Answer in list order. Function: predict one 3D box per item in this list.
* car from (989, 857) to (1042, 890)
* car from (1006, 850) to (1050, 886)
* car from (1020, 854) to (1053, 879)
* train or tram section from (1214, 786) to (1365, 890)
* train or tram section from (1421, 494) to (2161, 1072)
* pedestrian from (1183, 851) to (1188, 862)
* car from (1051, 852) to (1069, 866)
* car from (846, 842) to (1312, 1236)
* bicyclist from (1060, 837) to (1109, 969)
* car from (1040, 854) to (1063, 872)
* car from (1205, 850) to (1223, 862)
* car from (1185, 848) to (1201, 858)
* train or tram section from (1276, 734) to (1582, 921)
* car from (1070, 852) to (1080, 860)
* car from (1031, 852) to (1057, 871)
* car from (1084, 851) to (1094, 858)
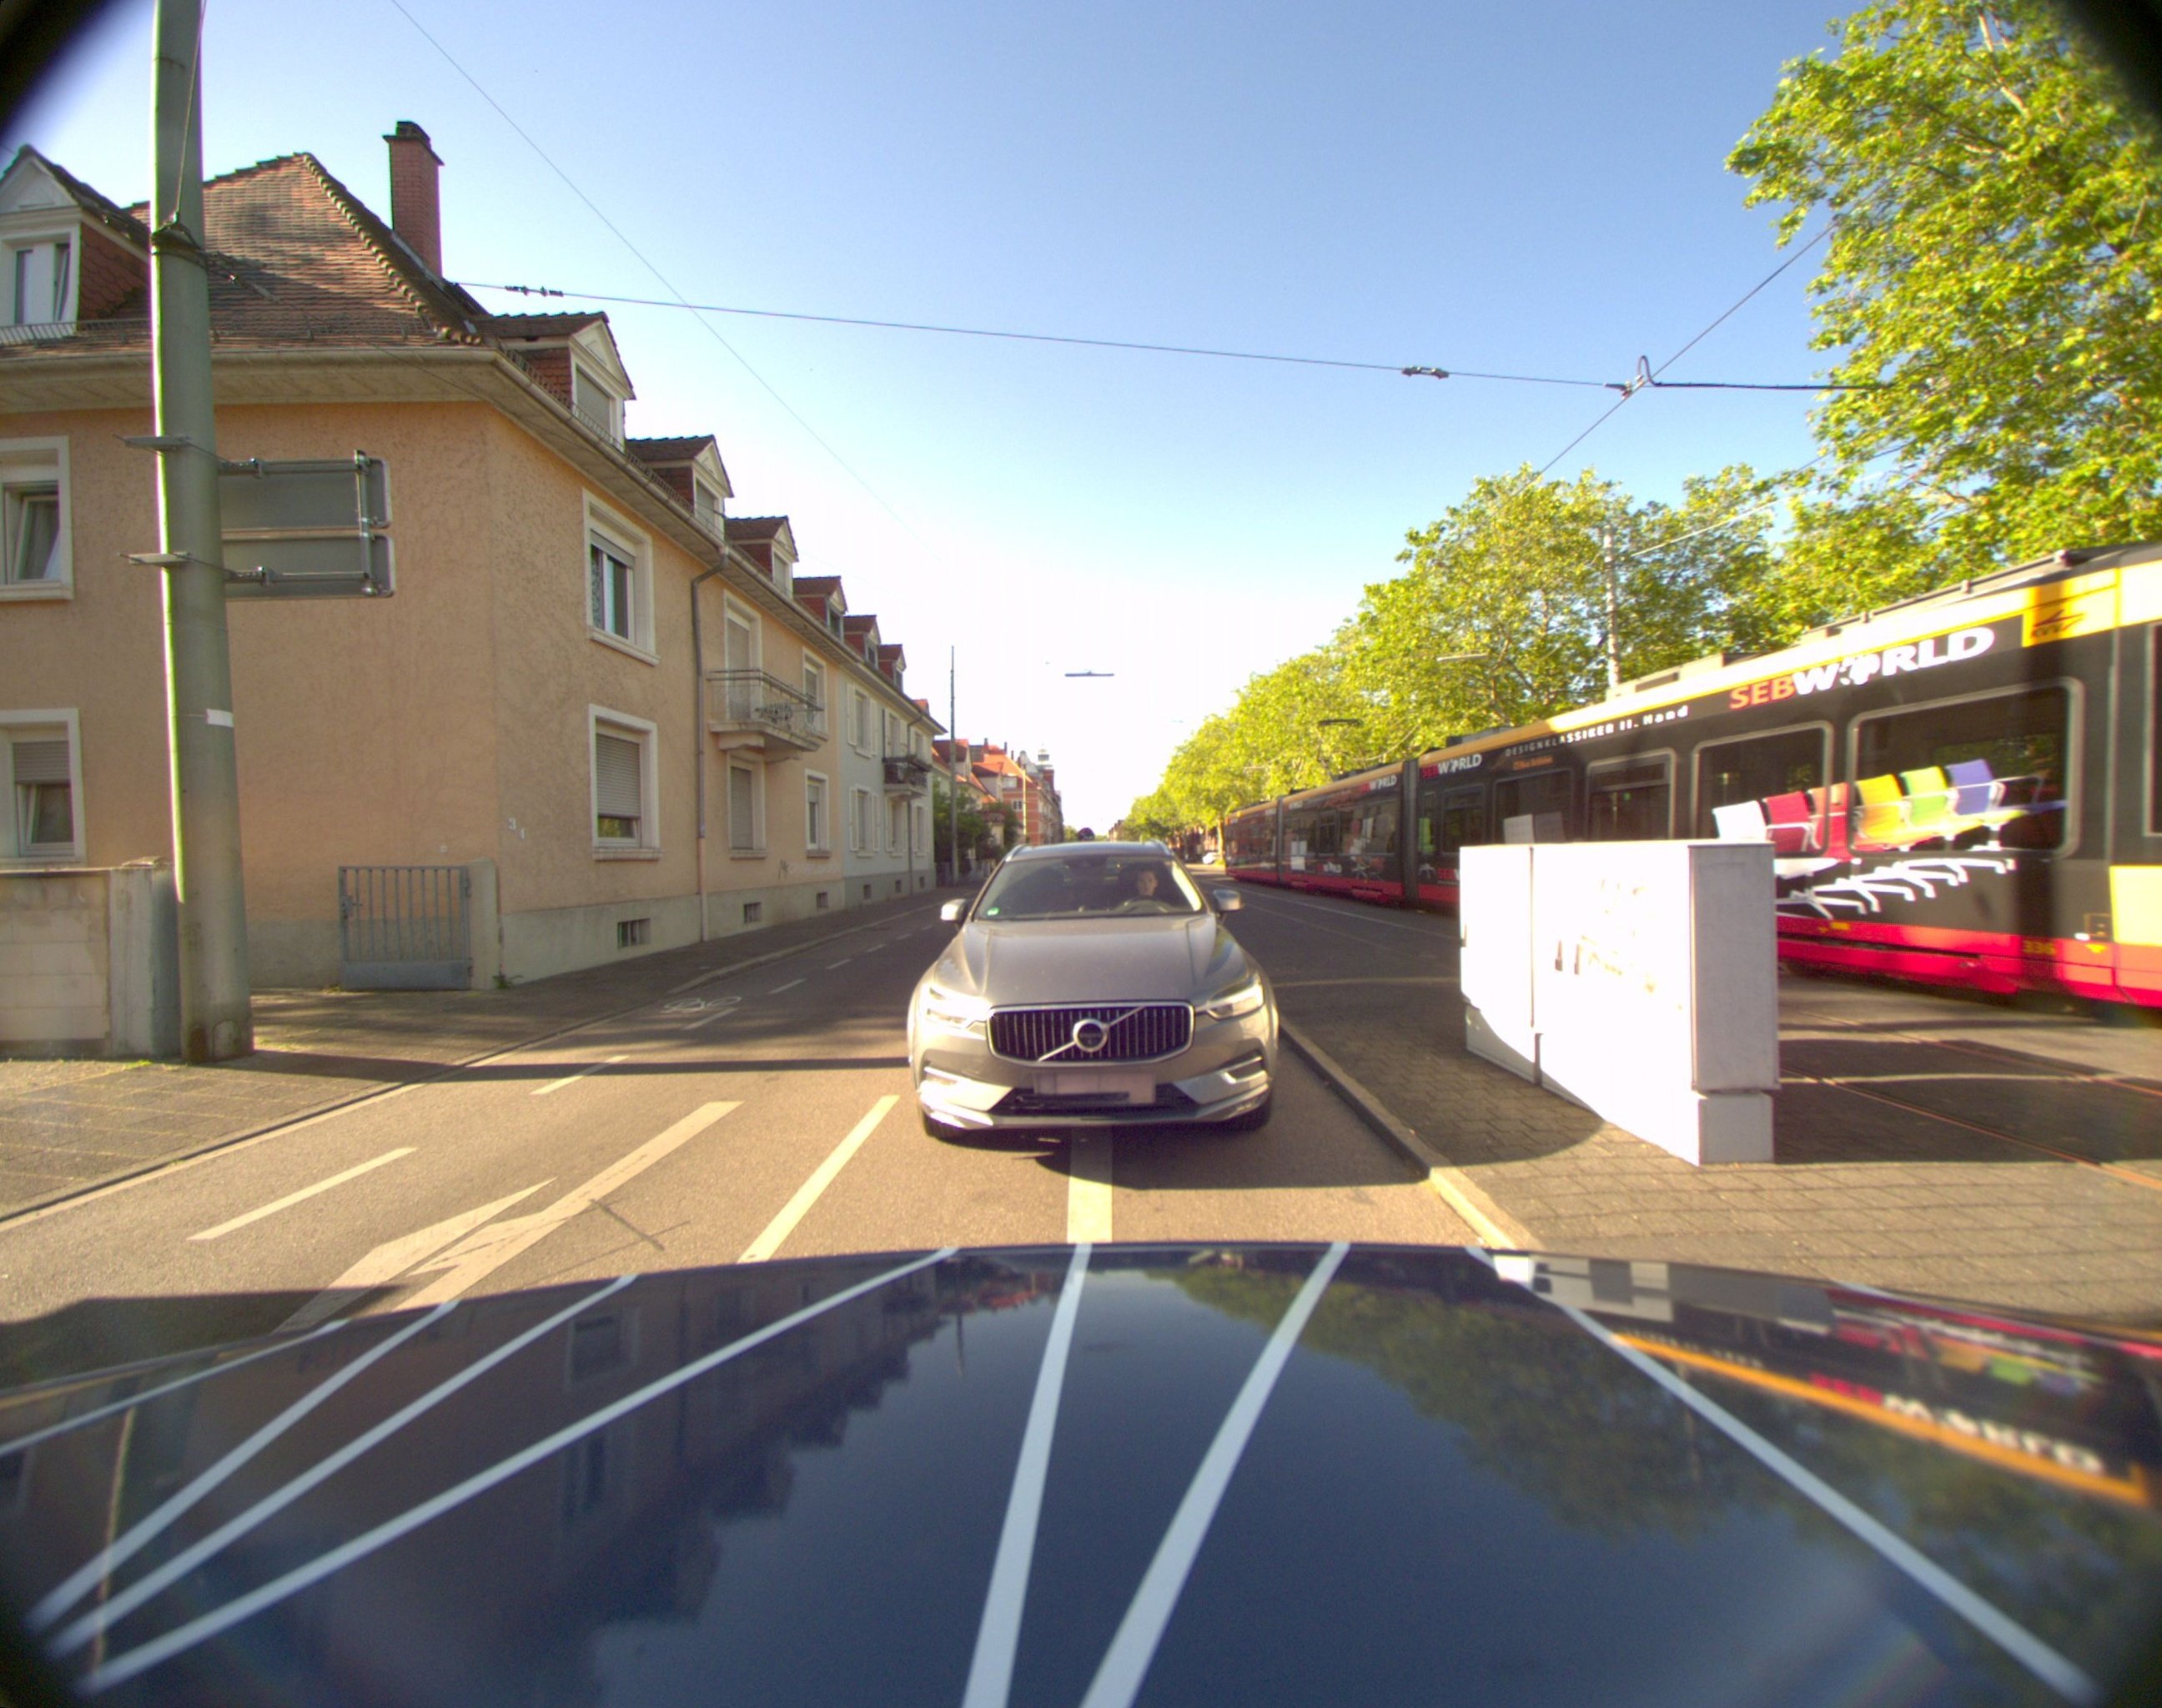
[{"bbox_3d":[-3.136,0.920,37.151,1.881,1.477,4.001,-1,0,5],"label":"car"},{"bbox_3d":[-2.905,0.727,42.787,1.932,1.834,5.313,-1,0,2],"label":"car"},{"bbox_3d":[-2.798,0.783,48.467,1.882,1.477,3.999,-1,0,-1],"label":"car"},{"bbox_3d":[8.482,-0.594,33.268,3.063,3.592,12.888,-1,0,0],"label":"train or tram section"},{"bbox_3d":[8.241,-0.482,8.884,3.063,3.592,12.113,-1,0,0],"label":"train or tram section"},{"bbox_3d":[15.683,0.438,113.939,0.578,1.632,0.677,-1,1,3],"label":"pedestrian"},{"bbox_3d":[-2.363,0.547,85.704,1.882,1.477,3.999,-1,0,-1],"label":"car"},{"bbox_3d":[0.023,0.767,5.429,1.917,1.621,4.502,-1,0,1],"label":"car"},{"bbox_3d":[0.055,0.635,10.201,0.600,1.709,0.662,-1,1,1],"label":"bicyclist"},{"bbox_3d":[-2.605,0.771,66.956,1.882,1.477,3.999,-1,0,-1],"label":"car"},{"bbox_3d":[17.633,0.262,100.851,1.882,1.542,4.000,-1,0,2],"label":"car"},{"bbox_3d":[18.526,-0.119,125.584,1.882,1.542,3.999,-1,0,-2],"label":"car"},{"bbox_3d":[8.351,-0.542,20.836,3.063,3.592,11.949,-1,0,1],"label":"train or tram section"},{"bbox_3d":[-1.112,0.309,148.583,1.882,1.477,3.999,-1,0,-1],"label":"car"},{"bbox_3d":[-2.939,0.559,61.150,1.882,1.477,3.999,-1,0,-1],"label":"car"},{"bbox_3d":[1.658,0.092,156.512,1.882,1.477,3.999,-1,0,-1],"label":"car"}]
